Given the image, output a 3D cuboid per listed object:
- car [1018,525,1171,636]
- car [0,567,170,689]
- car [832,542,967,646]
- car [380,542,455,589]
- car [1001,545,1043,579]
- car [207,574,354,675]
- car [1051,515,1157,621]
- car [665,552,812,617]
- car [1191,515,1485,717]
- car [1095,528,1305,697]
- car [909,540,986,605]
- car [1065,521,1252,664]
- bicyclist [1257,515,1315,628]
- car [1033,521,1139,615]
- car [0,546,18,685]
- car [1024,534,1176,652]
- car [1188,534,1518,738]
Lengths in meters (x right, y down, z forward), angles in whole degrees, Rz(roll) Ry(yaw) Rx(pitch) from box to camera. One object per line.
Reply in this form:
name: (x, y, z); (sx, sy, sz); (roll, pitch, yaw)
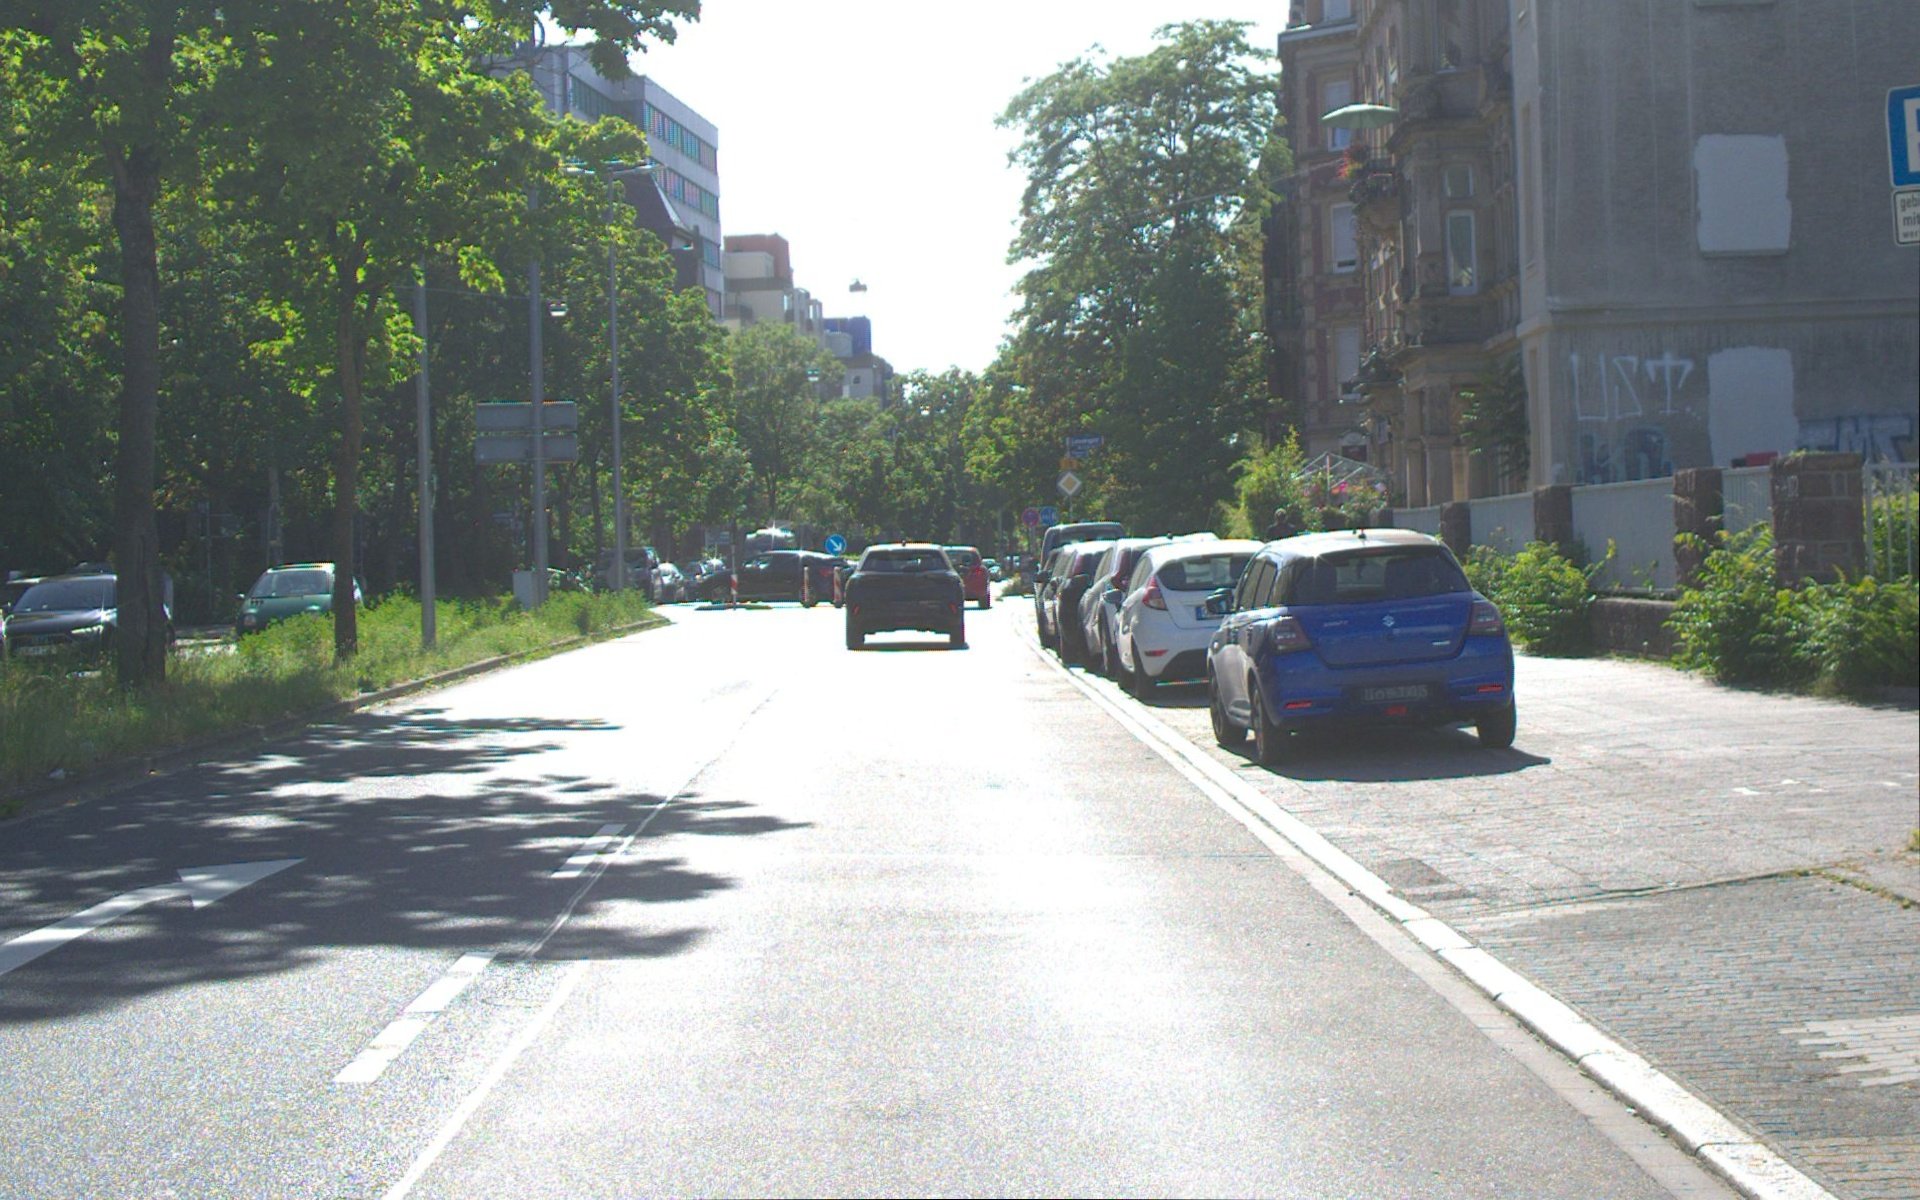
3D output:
car: (1.947, -0.325, 51.135); (1.935, 1.514, 4.484); (-2, 1, -2)
car: (-12.056, 0.377, 46.553); (1.795, 1.514, 4.087); (-3, 0, -2)
car: (-0.955, -0.117, 52.086); (1.894, 1.514, 4.001); (0, 1, -3)
car: (-20.447, -1.298, 129.436); (1.974, 1.656, 4.001); (-2, 1, -20)
car: (3.150, -1.925, 173.581); (1.920, 1.634, 4.000); (-2, 1, 3)
car: (-11.154, 0.370, 56.688); (1.638, 1.514, 4.259); (-2, 1, -2)
car: (2.648, -0.625, 63.549); (1.819, 1.837, 4.364); (-2, 1, 2)
car: (-5.860, -0.398, 91.284); (3.849, 1.628, 1.620); (0, -2, -2)
car: (3.110, 0.085, 29.006); (1.668, 1.455, 3.987); (-5, 1, -4)
car: (2.318, 0.081, 33.946); (1.608, 1.441, 3.659); (-5, 1, -1)
car: (-0.318, -0.652, 82.735); (1.792, 1.515, 3.849); (-1, 0, -1)
car: (2.242, -0.121, 39.600); (1.668, 1.514, 3.662); (-2, 1, -4)
bicyclist: (4.653, -0.409, 49.077); (0.741, 1.574, 1.100); (-1, 2, 1)
car: (2.115, -0.565, 57.726); (1.668, 1.463, 4.274); (-2, 1, 2)
car: (-12.131, 0.242, 38.602); (1.900, 1.620, 4.537); (-3, 1, -2)
car: (1.762, -0.124, 44.327); (1.668, 1.389, 3.775); (-2, 1, -2)
car: (2.695, 0.199, 24.371); (1.668, 1.178, 3.901); (-5, 1, -2)
